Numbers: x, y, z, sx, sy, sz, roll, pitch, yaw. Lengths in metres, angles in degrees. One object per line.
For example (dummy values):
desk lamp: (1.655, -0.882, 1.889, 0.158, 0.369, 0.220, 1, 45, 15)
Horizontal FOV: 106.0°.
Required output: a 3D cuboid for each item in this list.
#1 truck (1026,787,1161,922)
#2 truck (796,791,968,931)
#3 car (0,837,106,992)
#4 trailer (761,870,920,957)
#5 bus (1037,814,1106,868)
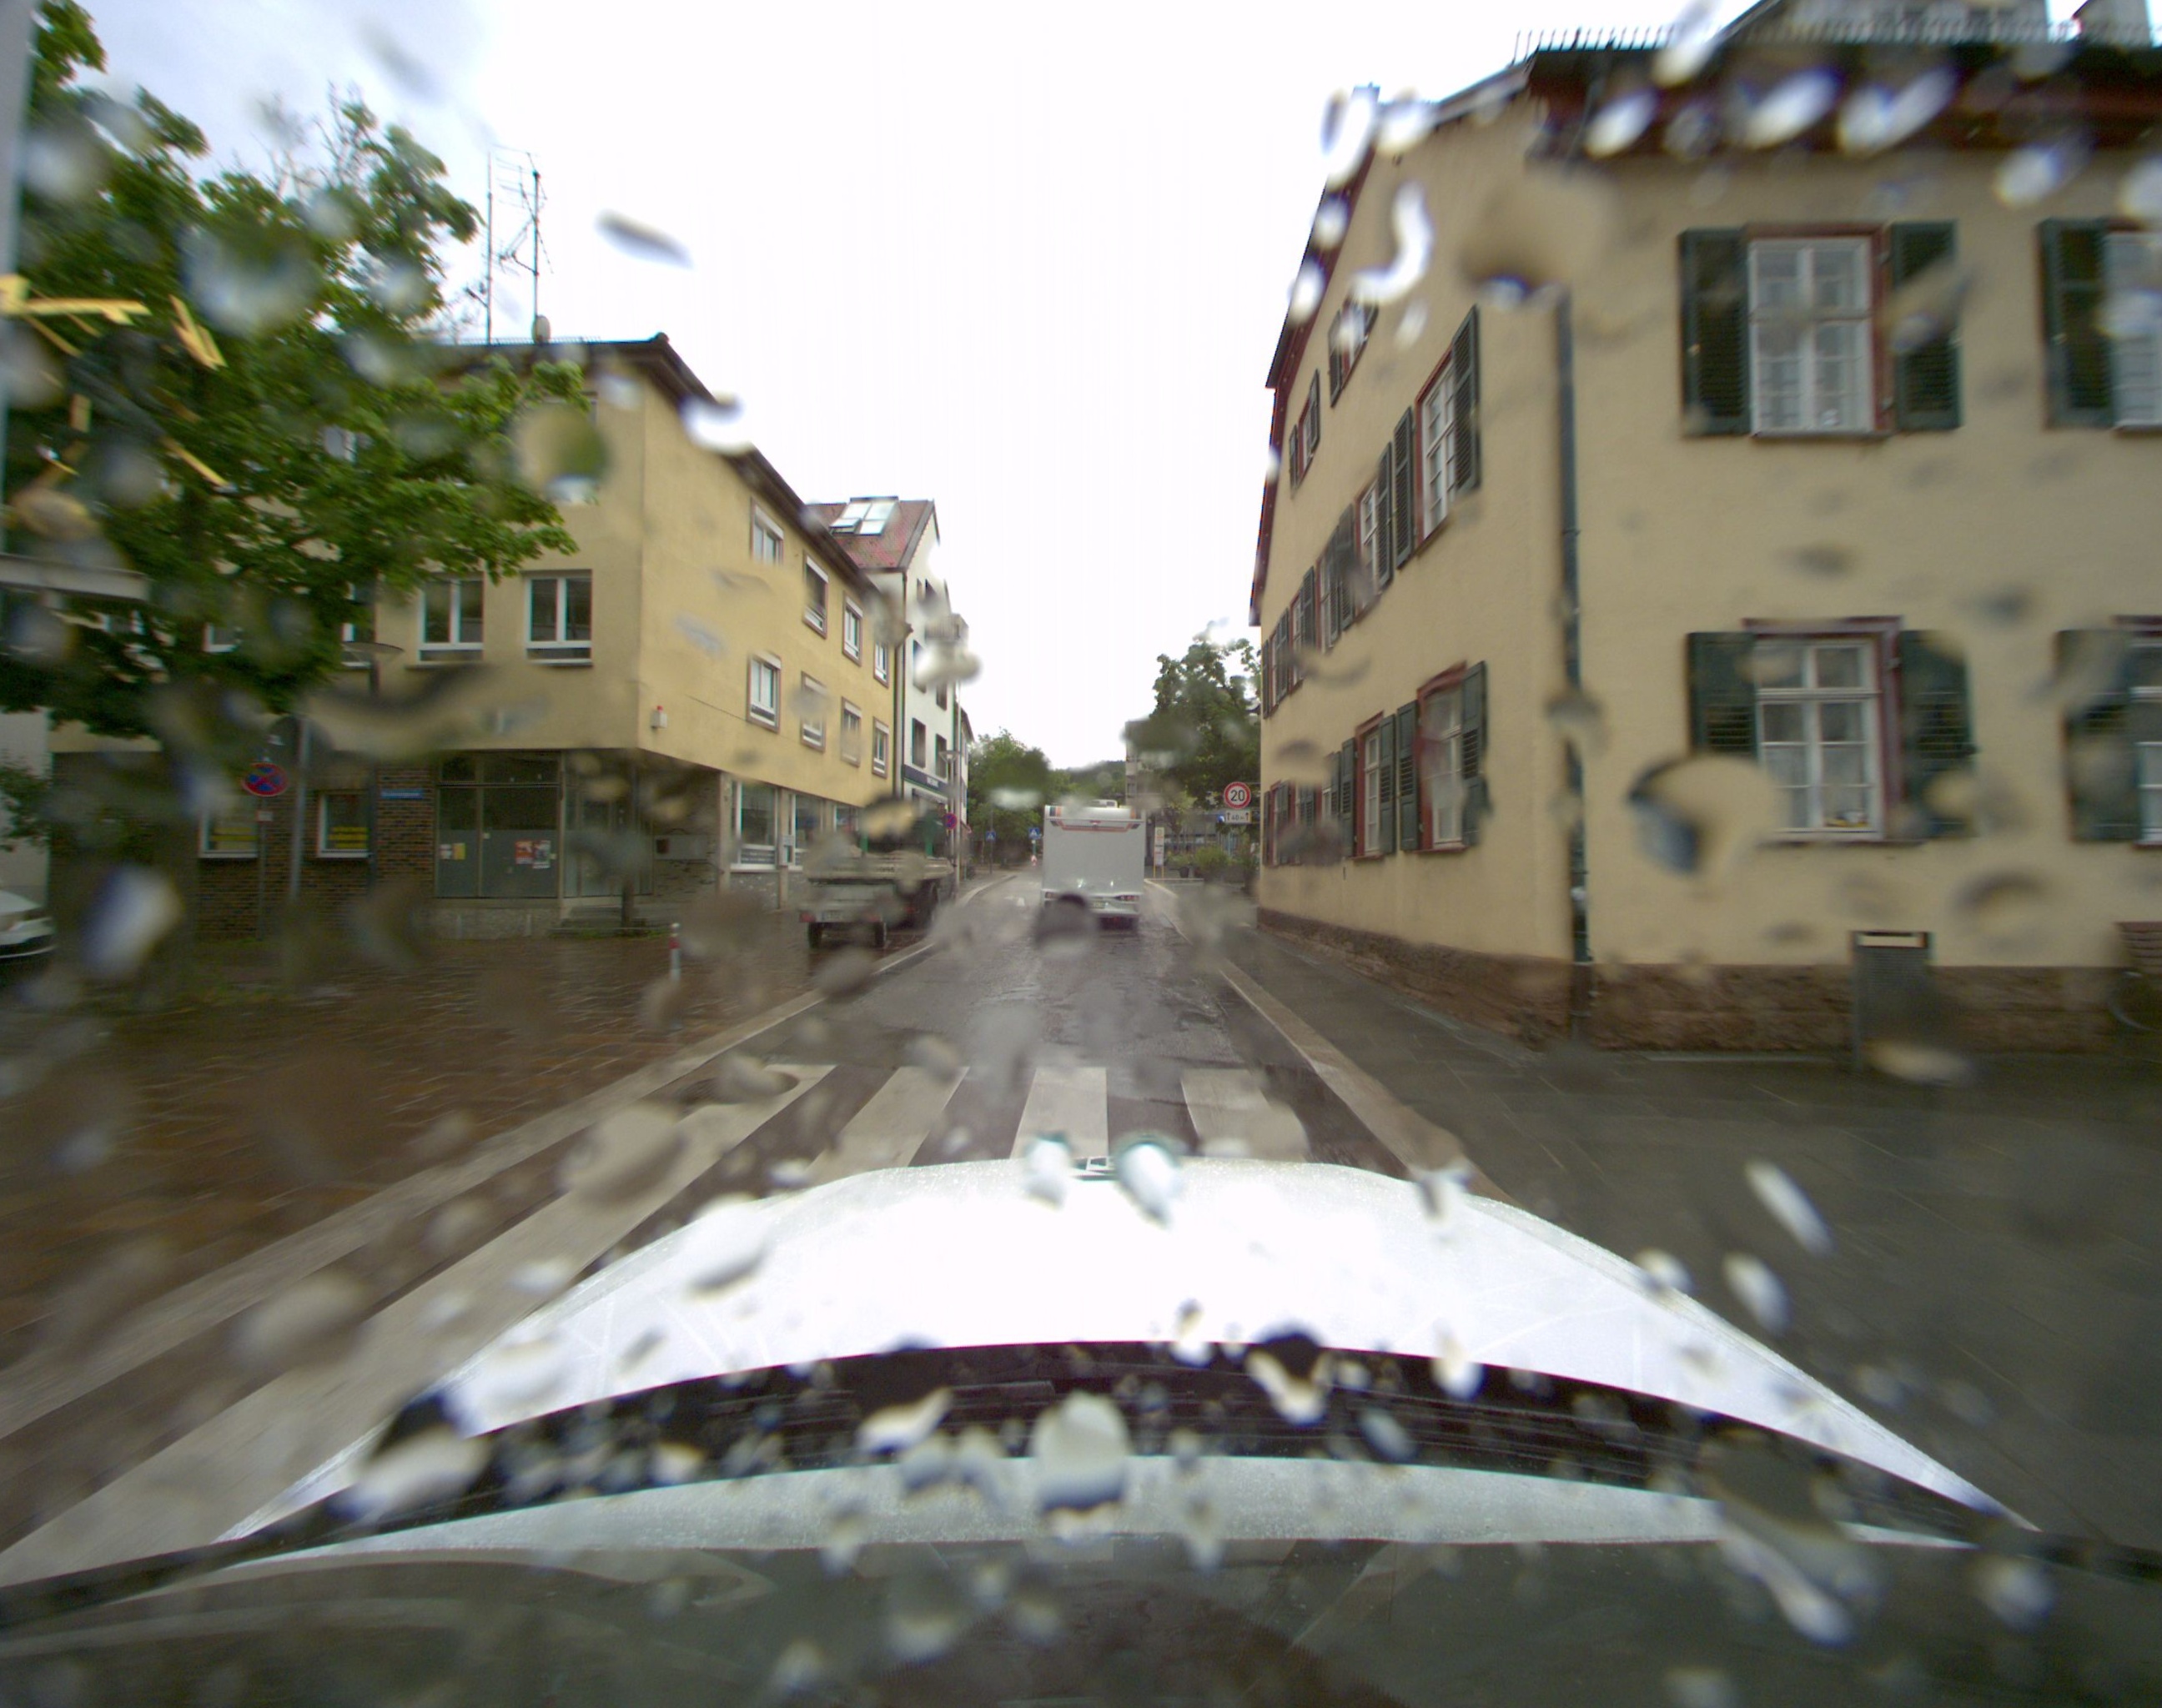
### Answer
truck: (0.240, 0.046, 20.231, 2.797, 2.797, 6.104, -1, -1, -1)
truck: (-4.126, 0.023, 18.334, 2.393, 2.594, 6.480, 0, 2, -1)
car: (-13.283, 0.684, 8.846, 4.077, 1.618, 1.864, -2, -1, 14)
trailer: (-3.856, 0.910, 13.580, 1.848, 1.124, 3.017, 0, 2, -3)
bus: (-0.845, -0.674, 52.982, 3.023, 3.146, 10.115, -1, -1, -9)
